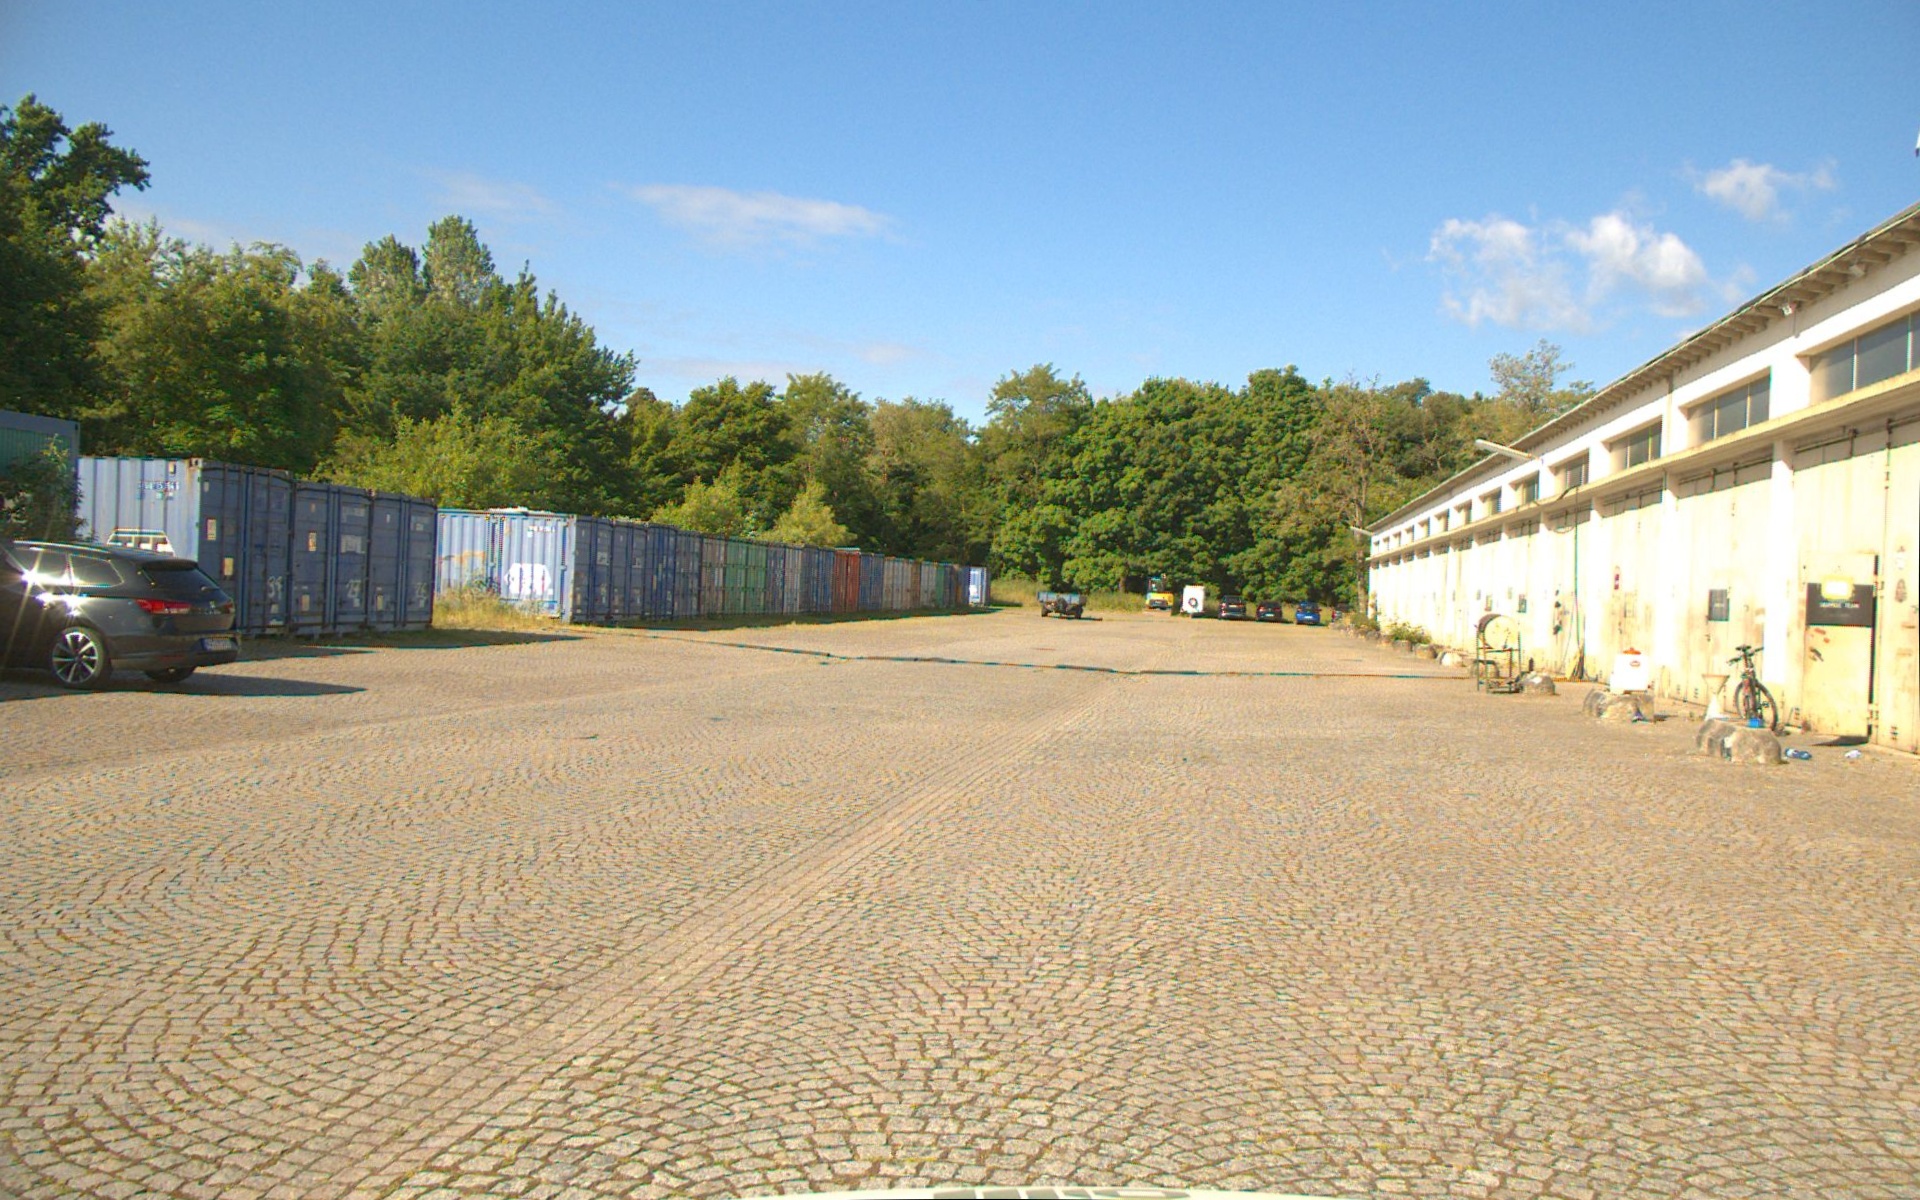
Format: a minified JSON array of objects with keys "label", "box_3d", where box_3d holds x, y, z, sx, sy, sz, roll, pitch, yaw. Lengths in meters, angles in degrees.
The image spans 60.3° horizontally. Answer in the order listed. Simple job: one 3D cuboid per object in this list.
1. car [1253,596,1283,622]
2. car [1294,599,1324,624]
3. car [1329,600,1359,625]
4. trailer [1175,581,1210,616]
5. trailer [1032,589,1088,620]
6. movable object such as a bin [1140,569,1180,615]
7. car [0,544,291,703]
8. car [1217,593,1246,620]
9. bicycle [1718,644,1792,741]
[{"label":"car","box_3d":[20.842,0.574,111.918,1.824,1.495,4.300,3,2,9]},{"label":"car","box_3d":[23.496,0.751,111.393,1.707,1.461,4.186,4,2,15]},{"label":"car","box_3d":[26.097,0.820,112.369,1.708,1.461,4.186,4,2,16]},{"label":"trailer","box_3d":[16.191,-0.104,114.773,2.146,2.130,5.757,3,2,9]},{"label":"trailer","box_3d":[5.854,0.218,96.163,2.648,1.491,6.253,4,2,8]},{"label":"movable object such as a bin","box_3d":[14.012,-0.602,115.755,2.257,2.946,5.757,3,2,10]},{"label":"car","box_3d":[-9.633,0.178,17.627,4.161,1.474,1.933,3,0,8]},{"label":"car","box_3d":[18.383,0.414,111.974,1.824,1.616,4.300,3,2,9]},{"label":"bicycle","box_3d":[9.816,1.112,20.467,0.651,1.086,1.824,3,0,21]}]
